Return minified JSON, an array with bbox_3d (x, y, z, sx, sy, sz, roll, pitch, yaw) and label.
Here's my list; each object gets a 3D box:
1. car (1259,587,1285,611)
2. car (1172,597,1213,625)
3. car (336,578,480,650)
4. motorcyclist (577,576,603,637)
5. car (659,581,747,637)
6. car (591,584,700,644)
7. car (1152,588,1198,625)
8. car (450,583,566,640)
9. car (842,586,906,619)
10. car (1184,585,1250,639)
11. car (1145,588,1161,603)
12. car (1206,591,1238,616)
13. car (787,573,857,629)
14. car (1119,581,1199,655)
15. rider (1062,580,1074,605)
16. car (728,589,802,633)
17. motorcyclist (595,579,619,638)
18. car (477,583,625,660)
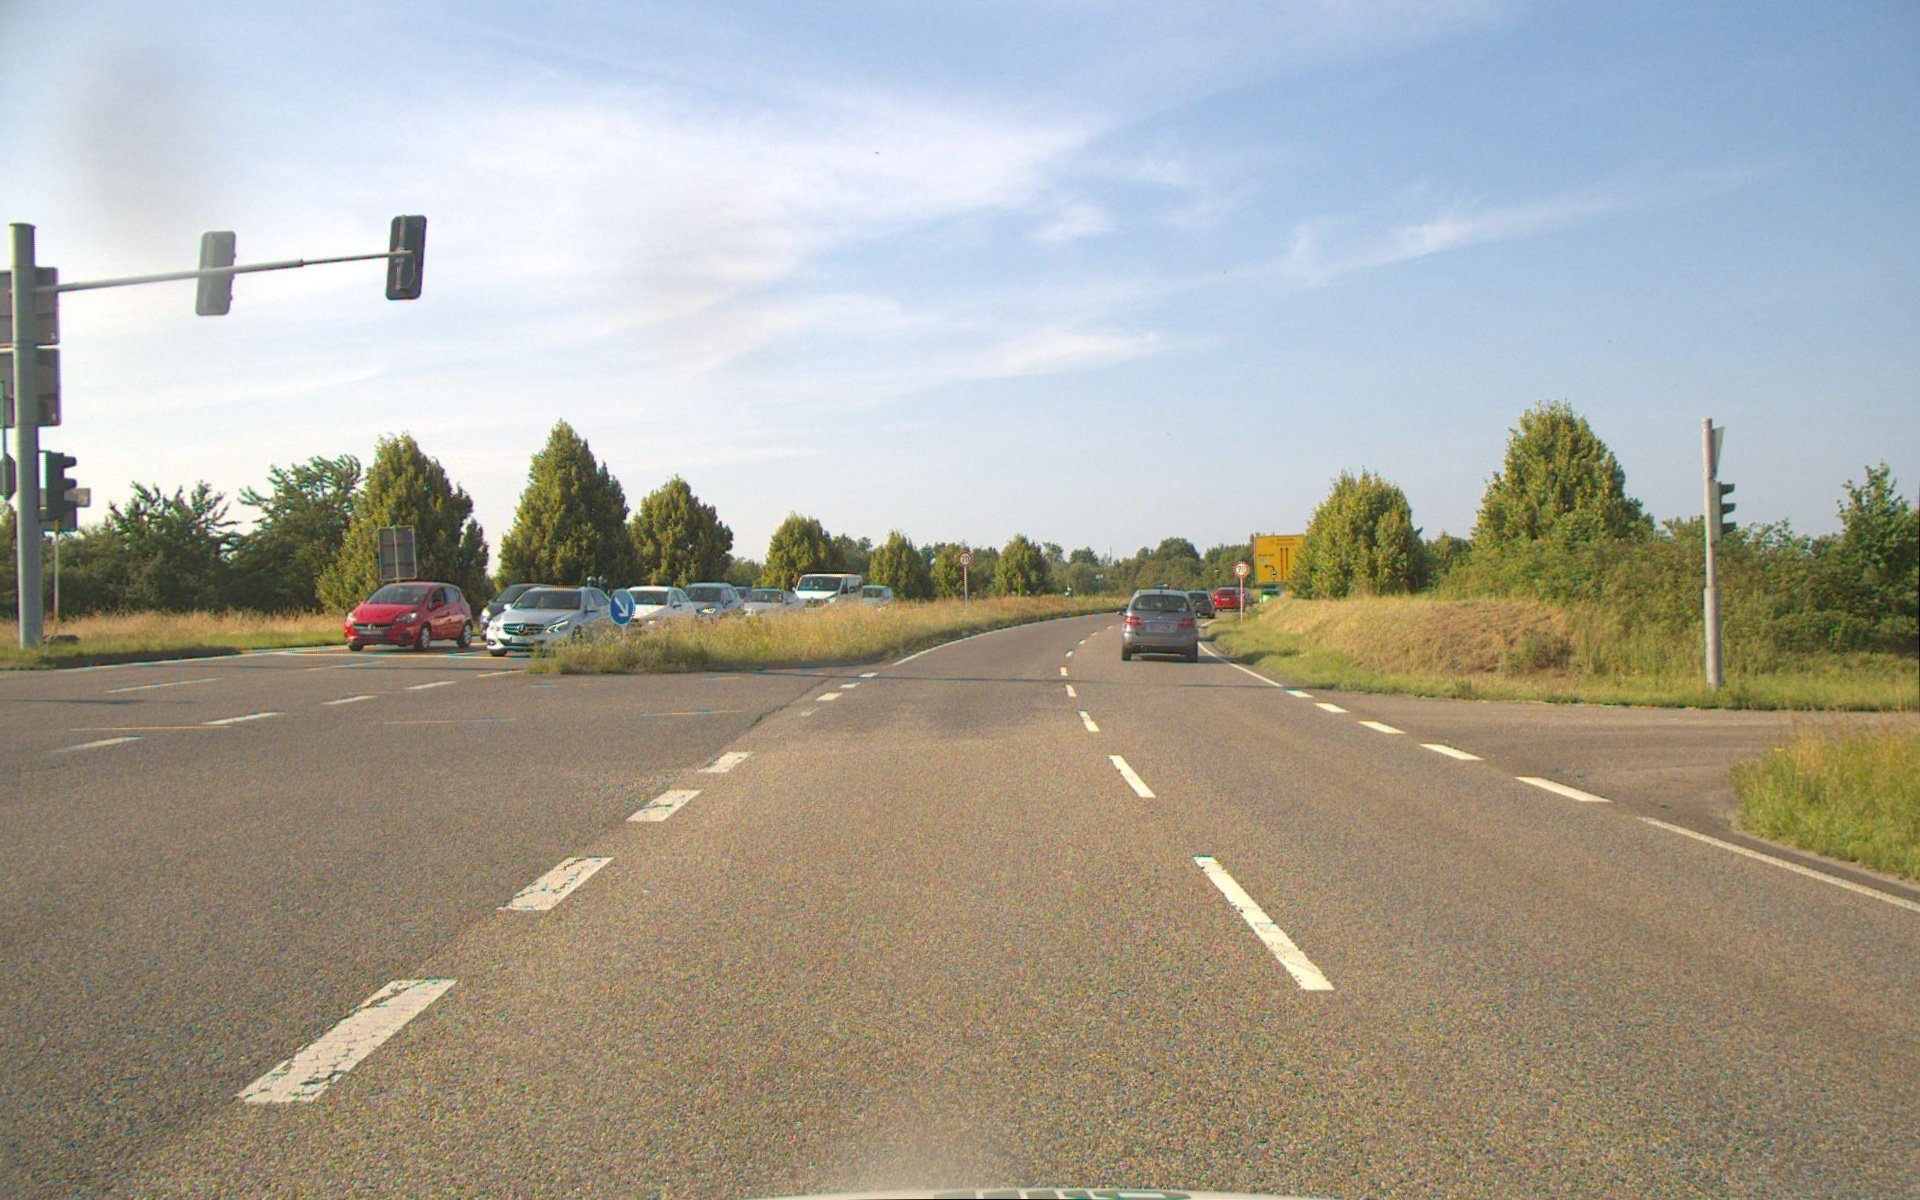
[{"bbox_3d":[24.423,-0.066,129.387,1.868,1.831,4.281,0,-1,13],"label":"car"},{"bbox_3d":[12.553,0.589,89.183,1.874,1.440,3.798,0,-1,13],"label":"car"},{"bbox_3d":[-12.239,0.286,36.939,1.684,1.514,3.806,-1,0,4],"label":"car"},{"bbox_3d":[-10.975,0.188,49.098,0.649,1.778,0.605,0,0,-4],"label":"motorcyclist"},{"bbox_3d":[-7.612,0.252,49.384,1.748,1.596,4.053,-1,0,4],"label":"car"},{"bbox_3d":[-8.131,0.346,43.098,1.748,1.458,4.311,-1,0,4],"label":"car"},{"bbox_3d":[9.144,0.243,70.118,1.735,1.518,3.988,0,0,10],"label":"car"},{"bbox_3d":[-12.016,0.287,44.193,1.748,1.458,4.053,-1,0,4],"label":"car"},{"bbox_3d":[-3.773,0.095,73.189,1.748,1.410,4.055,-1,0,13],"label":"car"},{"bbox_3d":[7.976,0.357,51.040,1.771,1.593,4.535,0,0,12],"label":"car"},{"bbox_3d":[18.931,-0.464,162.020,1.375,1.426,3.425,-1,0,9],"label":"car"},{"bbox_3d":[17.680,0.248,111.534,1.855,1.592,4.281,0,-1,12],"label":"car"},{"bbox_3d":[-5.361,0.038,64.870,1.884,2.114,4.246,-1,0,7],"label":"car"},{"bbox_3d":[4.687,0.437,38.707,1.746,1.633,4.199,0,-1,8],"label":"car"},{"bbox_3d":[8.947,-0.628,137.512,0.849,2.049,0.772,0,0,15],"label":"rider"},{"bbox_3d":[-6.487,0.356,55.488,1.748,1.410,4.053,-1,0,4],"label":"car"},{"bbox_3d":[-11.147,0.275,52.195,0.649,1.849,0.605,0,0,-4],"label":"motorcyclist"},{"bbox_3d":[-8.637,0.421,35.356,1.748,1.514,4.653,-1,0,4],"label":"car"}]
